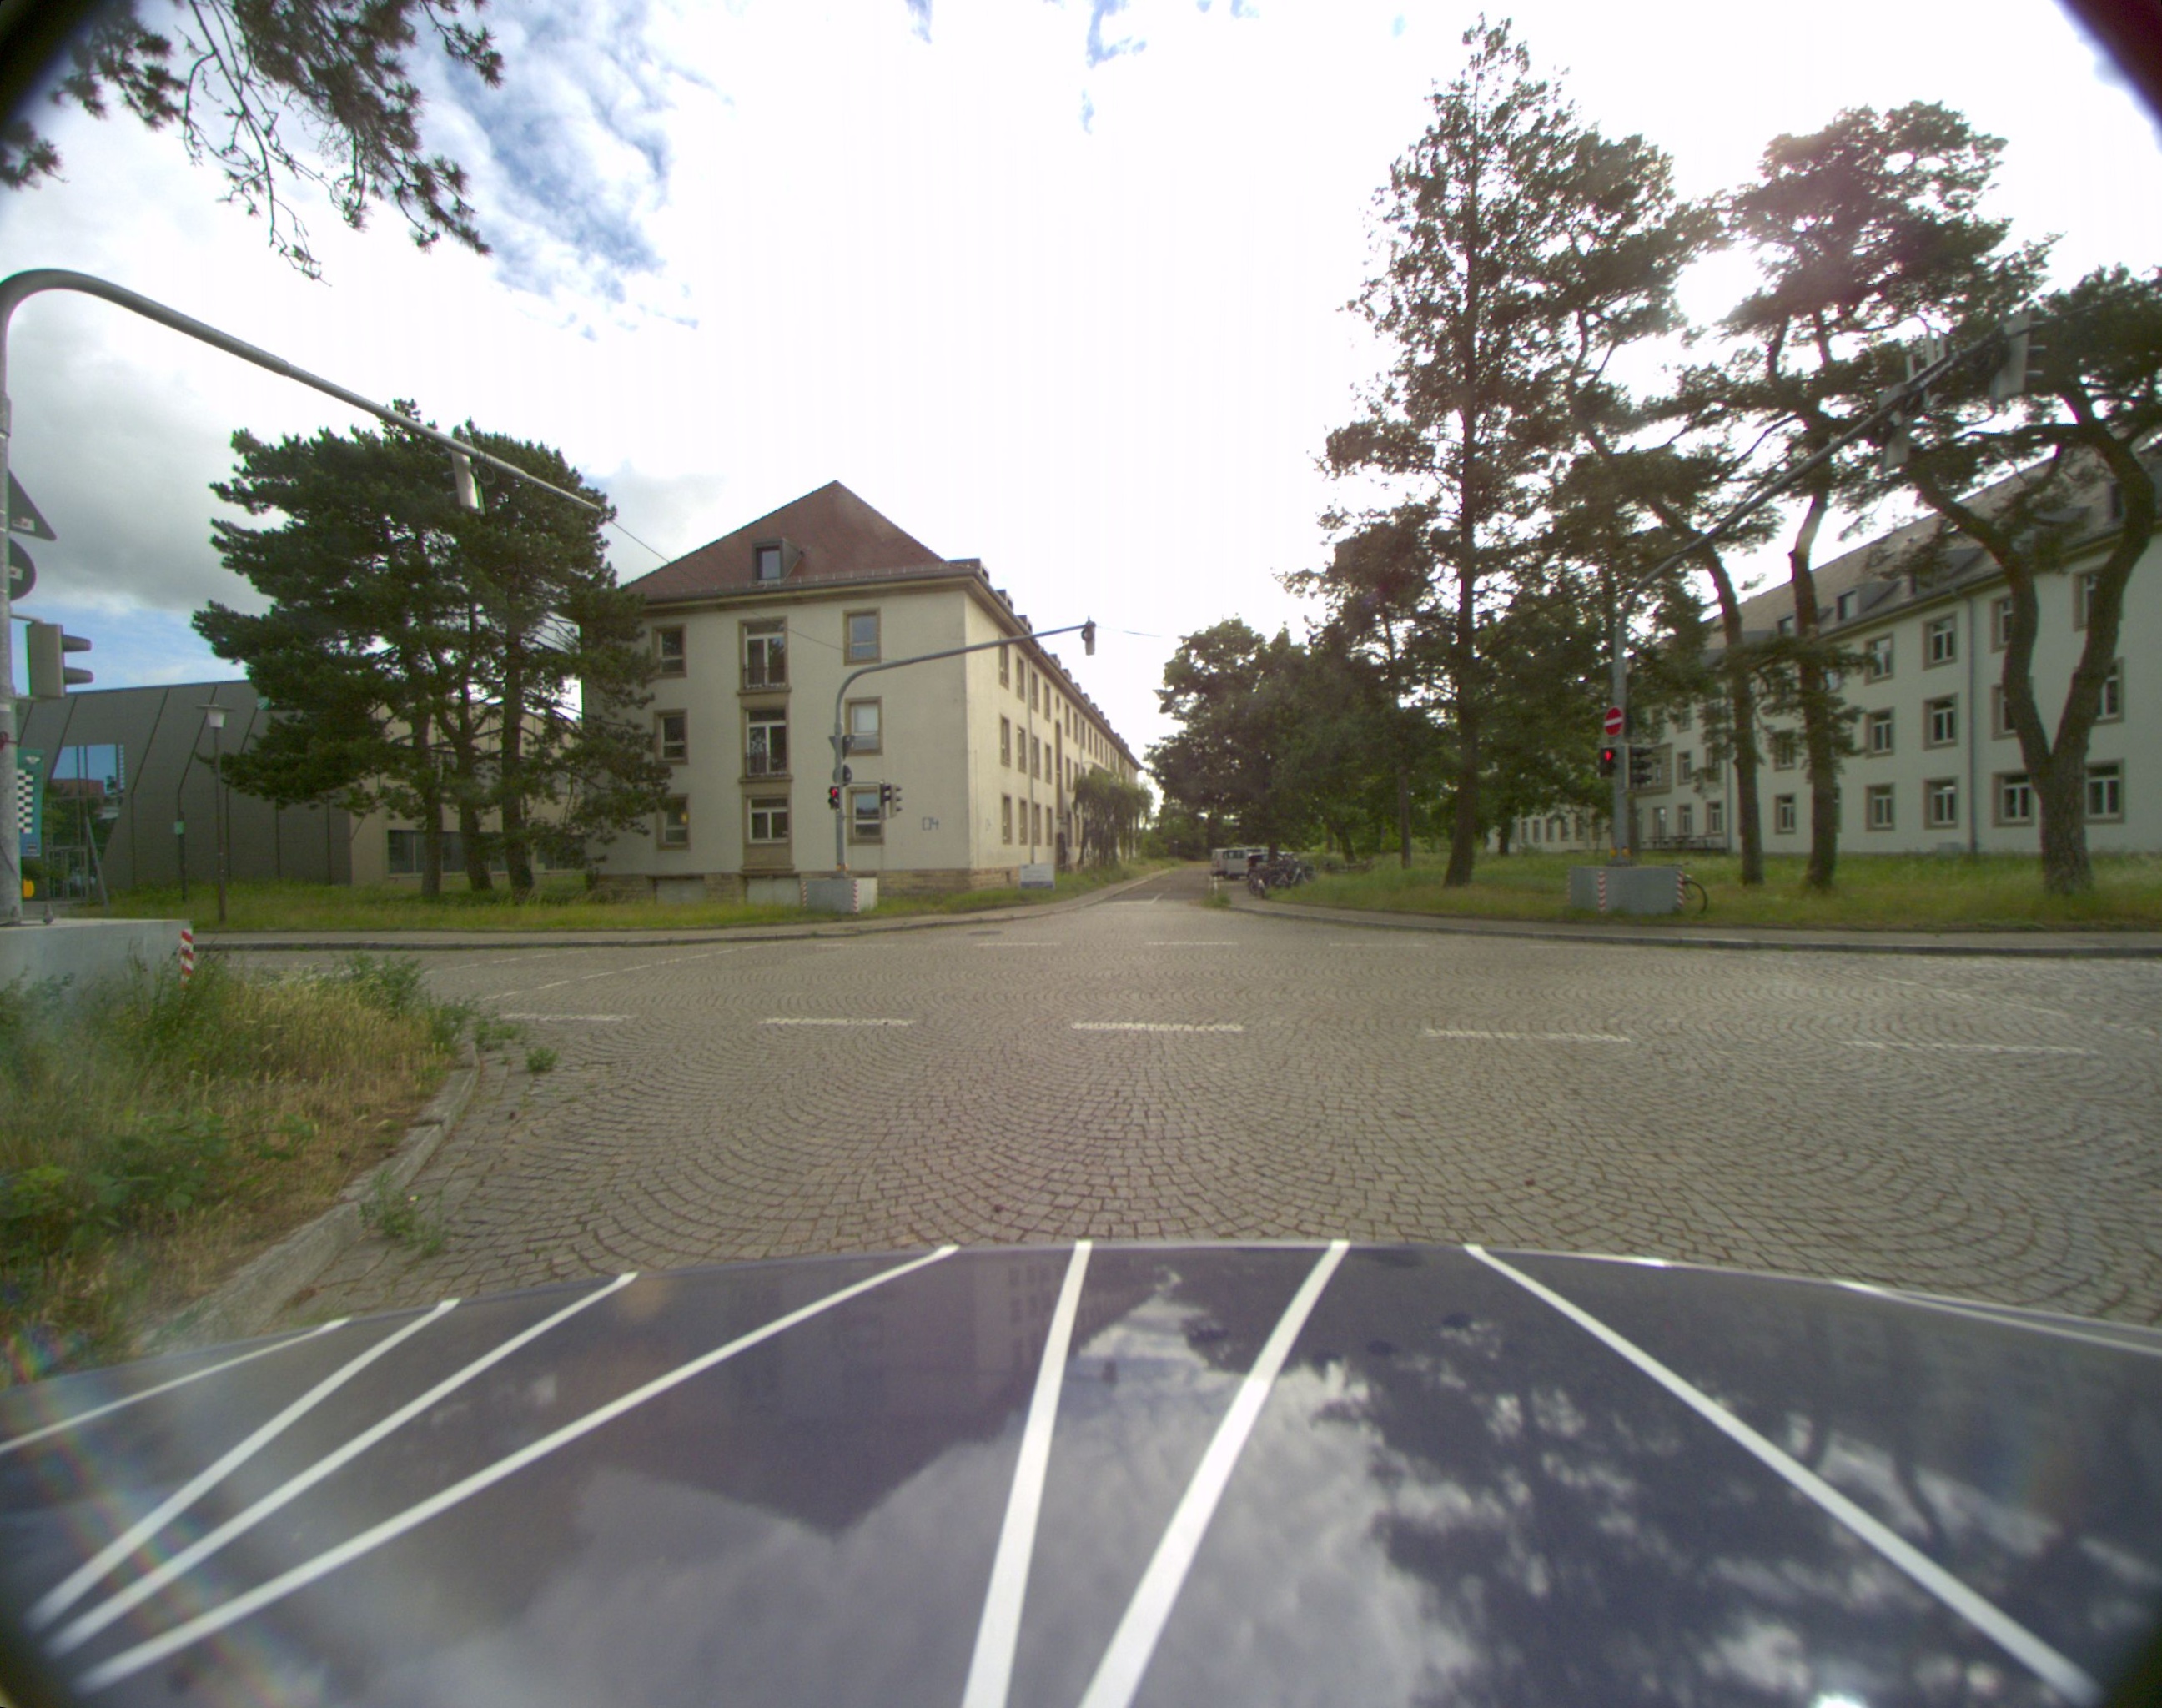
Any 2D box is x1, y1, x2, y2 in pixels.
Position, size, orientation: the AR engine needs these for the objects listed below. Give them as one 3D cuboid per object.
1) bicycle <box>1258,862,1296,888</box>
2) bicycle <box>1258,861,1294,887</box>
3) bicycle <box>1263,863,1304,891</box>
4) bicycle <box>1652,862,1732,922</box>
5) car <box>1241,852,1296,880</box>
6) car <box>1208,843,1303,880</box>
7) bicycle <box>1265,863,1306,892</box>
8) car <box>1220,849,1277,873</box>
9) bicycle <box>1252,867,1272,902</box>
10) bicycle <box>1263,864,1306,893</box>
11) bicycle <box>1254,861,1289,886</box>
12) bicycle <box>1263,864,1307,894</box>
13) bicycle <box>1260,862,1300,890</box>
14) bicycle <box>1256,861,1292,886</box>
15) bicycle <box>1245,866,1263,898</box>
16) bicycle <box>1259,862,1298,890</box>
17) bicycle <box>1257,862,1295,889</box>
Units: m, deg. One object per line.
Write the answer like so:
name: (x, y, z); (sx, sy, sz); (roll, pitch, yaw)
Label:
bicycle: (8.449, 0.892, 32.726); (1.456, 1.032, 0.498); (-4, 1, 5)
bicycle: (8.641, 0.878, 33.726); (1.456, 1.032, 0.498); (-4, 1, 5)
bicycle: (8.099, 0.911, 30.467); (1.456, 1.032, 0.498); (-4, 1, 5)
bicycle: (11.898, 0.717, 14.848); (0.497, 1.068, 1.417); (-4, 0, 7)
car: (10.482, 0.672, 42.602); (2.769, 1.407, 1.593); (-3, 0, 9)
car: (10.487, 0.444, 45.988); (5.169, 1.905, 2.035); (-3, 0, -4)
bicycle: (8.028, 0.923, 29.885); (1.456, 1.032, 0.498); (-4, 1, 5)
car: (13.181, 0.535, 59.873); (4.089, 1.710, 1.859); (-1, 2, 2)
bicycle: (6.031, 0.999, 25.329); (0.497, 1.068, 1.417); (-4, 0, 9)
bicycle: (7.725, 0.928, 28.887); (1.456, 1.032, 0.498); (-4, 1, 5)
bicycle: (8.710, 0.889, 34.726); (1.456, 1.032, 0.498); (-4, 1, 5)
bicycle: (7.529, 0.921, 28.113); (1.456, 1.032, 0.498); (-4, 1, 2)
bicycle: (8.149, 0.890, 31.160); (1.456, 1.032, 0.498); (-4, 1, 5)
bicycle: (8.683, 0.887, 34.248); (1.456, 1.032, 0.498); (-4, 1, 5)
bicycle: (6.121, 0.987, 26.943); (0.497, 1.032, 1.417); (-4, 0, 9)
bicycle: (8.197, 0.916, 31.627); (1.456, 1.032, 0.498); (-4, 1, 5)
bicycle: (8.238, 0.900, 32.120); (1.456, 1.032, 0.498); (-4, 1, 5)
